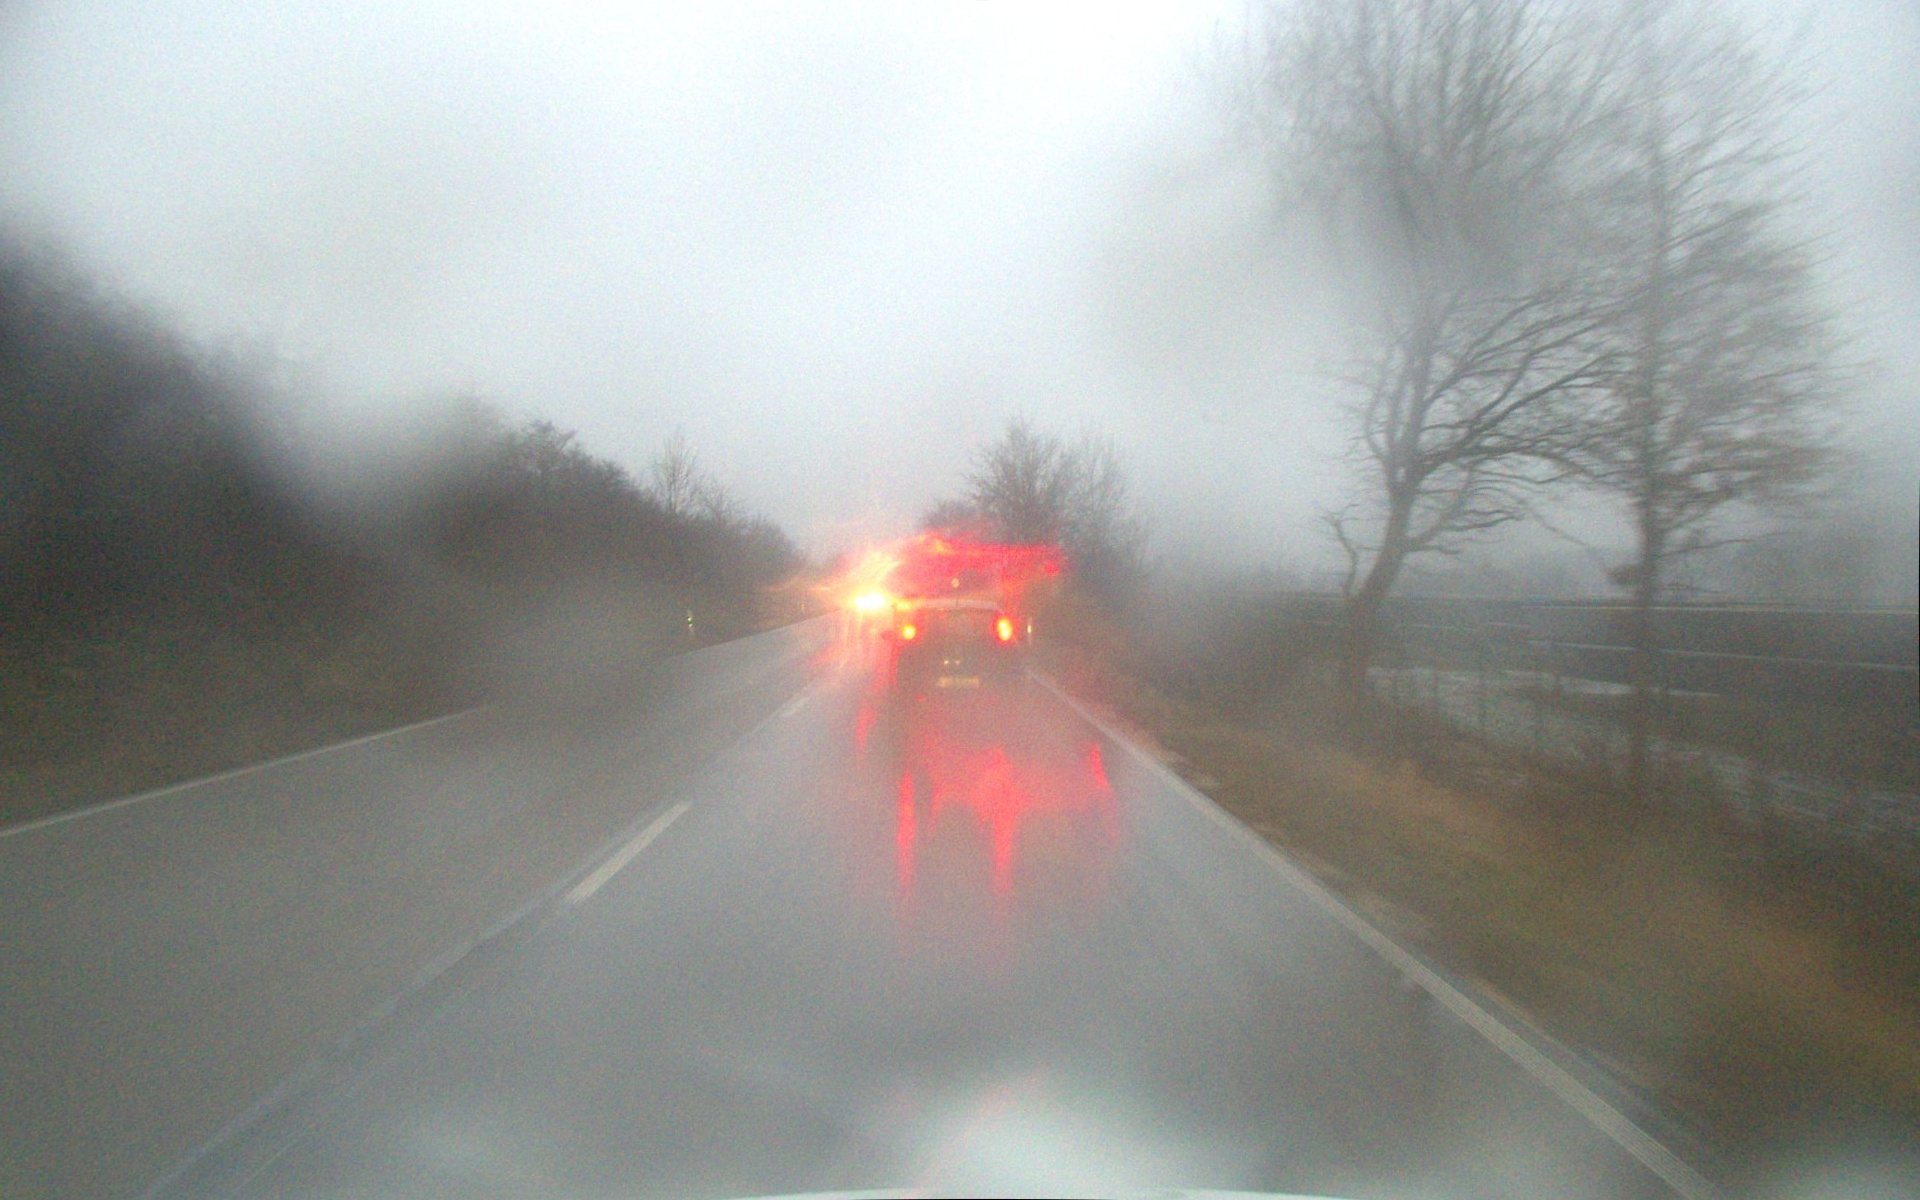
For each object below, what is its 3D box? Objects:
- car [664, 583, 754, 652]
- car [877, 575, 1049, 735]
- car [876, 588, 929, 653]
[{"bbox_3d":[-7.027,0.474,46.695,1.953,1.816,3.999,1,0,-1],"label":"car"},{"bbox_3d":[-0.006,0.643,21.150,1.953,1.816,3.999,1,0,-1],"label":"car"},{"bbox_3d":[-1.774,0.623,51.564,1.542,1.908,3.708,1,0,-1],"label":"car"}]
